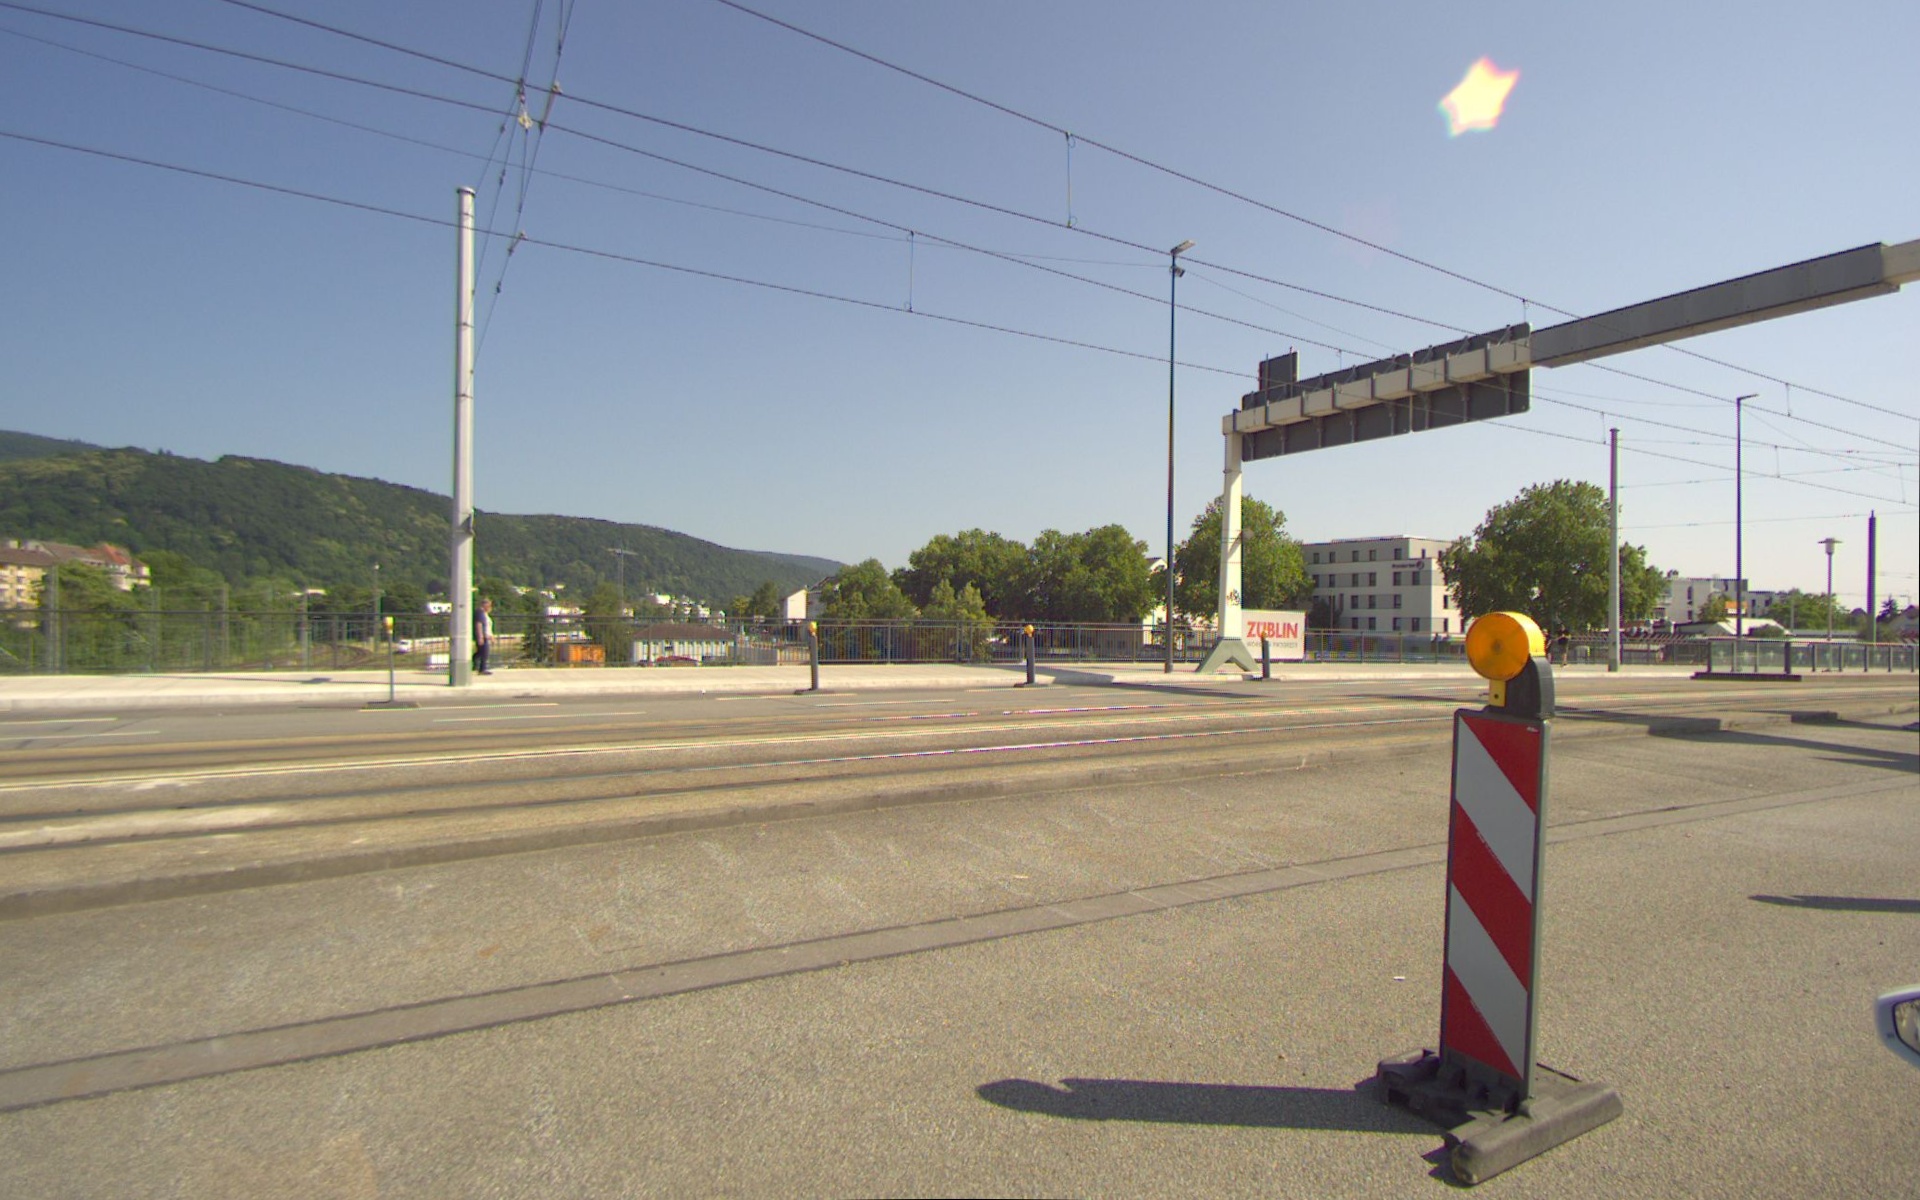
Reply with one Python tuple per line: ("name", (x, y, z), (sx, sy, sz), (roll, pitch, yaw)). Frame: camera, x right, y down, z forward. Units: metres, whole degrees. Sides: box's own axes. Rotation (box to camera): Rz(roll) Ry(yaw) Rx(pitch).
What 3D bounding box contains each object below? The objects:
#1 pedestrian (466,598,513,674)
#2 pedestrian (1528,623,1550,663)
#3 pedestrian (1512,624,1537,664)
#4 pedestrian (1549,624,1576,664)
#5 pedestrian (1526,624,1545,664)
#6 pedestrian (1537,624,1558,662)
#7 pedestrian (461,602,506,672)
("pedestrian", (-10.668, 0.806, 22.751), (0.884, 1.664, 0.740), (1, 2, -31))
("pedestrian", (24.947, 1.846, 43.269), (0.797, 1.709, 0.484), (1, -1, -27))
("pedestrian", (24.574, 1.912, 43.742), (0.807, 1.709, 0.595), (1, -1, -27))
("pedestrian", (26.257, 1.901, 43.810), (0.722, 1.709, 0.750), (1, -1, -27))
("pedestrian", (25.271, 1.934, 44.084), (0.760, 1.709, 0.382), (1, -1, -28))
("pedestrian", (26.573, 1.950, 45.440), (0.763, 1.709, 0.502), (1, -1, -27))
("pedestrian", (-11.177, 0.854, 23.538), (0.878, 1.565, 0.716), (1, 2, -31))
